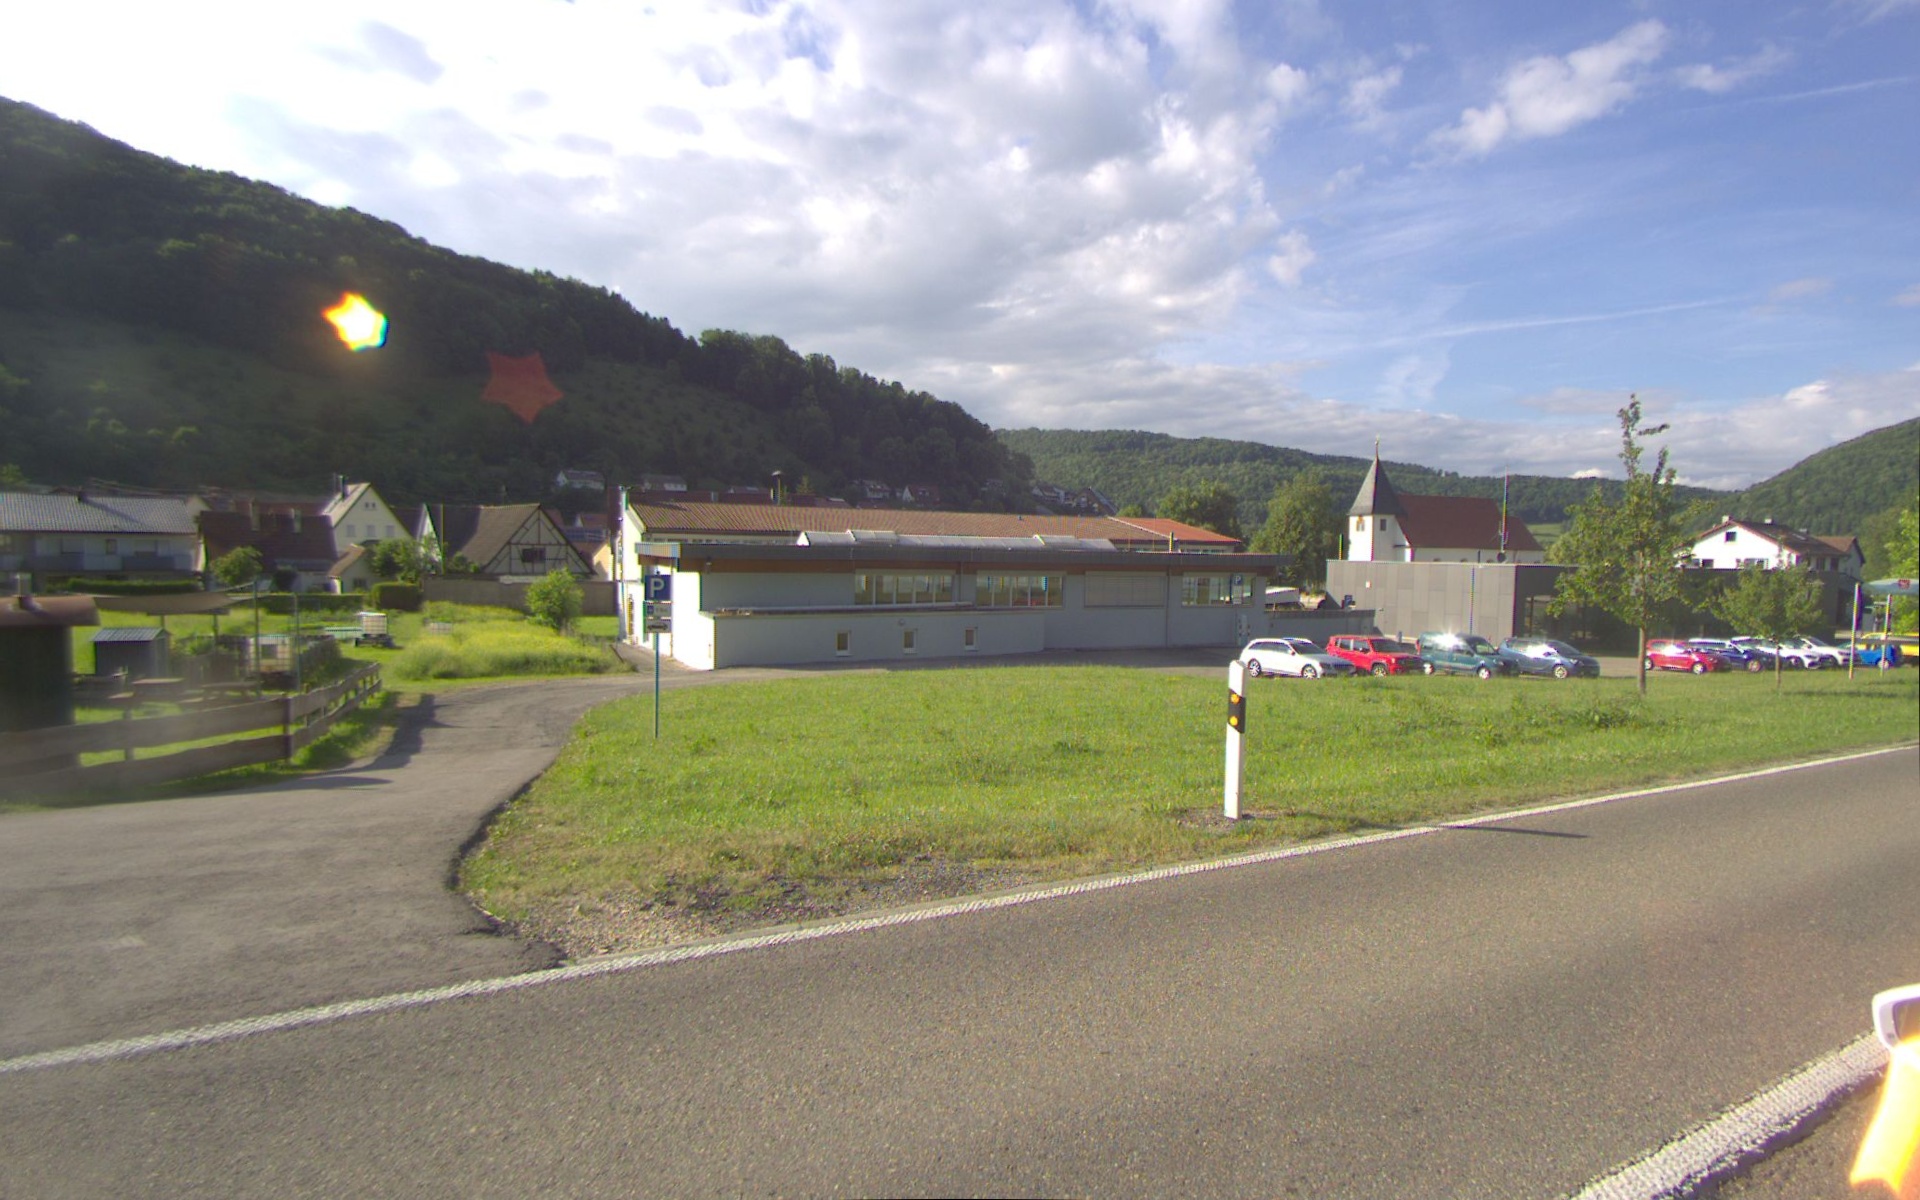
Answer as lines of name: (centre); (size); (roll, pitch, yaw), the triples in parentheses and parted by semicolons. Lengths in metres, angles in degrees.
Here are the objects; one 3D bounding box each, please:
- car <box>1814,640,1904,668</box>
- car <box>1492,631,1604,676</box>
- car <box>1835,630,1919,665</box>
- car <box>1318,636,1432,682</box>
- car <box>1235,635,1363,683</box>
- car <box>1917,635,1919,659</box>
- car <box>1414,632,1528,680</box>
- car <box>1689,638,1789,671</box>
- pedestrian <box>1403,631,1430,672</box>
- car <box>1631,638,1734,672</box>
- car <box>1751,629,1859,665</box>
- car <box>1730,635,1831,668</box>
car: (49.332, 2.937, 55.174); (1.641, 1.392, 3.352); (1, -2, -31)
car: (24.963, 2.240, 42.771); (1.708, 1.744, 3.807); (1, -1, -25)
car: (51.905, 2.609, 55.888); (1.815, 1.839, 4.542); (1, -2, -24)
car: (15.849, 2.220, 38.532); (1.732, 1.600, 3.908); (1, -1, -25)
car: (12.727, 2.172, 38.032); (1.973, 1.610, 4.627); (1, -1, -25)
car: (60.465, 2.873, 60.562); (1.488, 1.458, 3.703); (1, -2, -24)
car: (20.780, 2.243, 40.982); (1.733, 1.745, 3.848); (1, 0, -27)
car: (38.310, 2.670, 49.491); (1.574, 1.423, 3.615); (2, -1, -24)
pedestrian: (19.862, 2.228, 43.693); (0.698, 1.716, 0.789); (1, 1, -35)
car: (33.897, 2.550, 47.196); (1.625, 1.463, 3.616); (1, -2, -24)
car: (44.101, 2.425, 52.498); (1.574, 1.695, 4.067); (-1, 0, -24)
car: (41.313, 2.548, 50.643); (1.574, 1.513, 3.657); (0, -1, -24)
